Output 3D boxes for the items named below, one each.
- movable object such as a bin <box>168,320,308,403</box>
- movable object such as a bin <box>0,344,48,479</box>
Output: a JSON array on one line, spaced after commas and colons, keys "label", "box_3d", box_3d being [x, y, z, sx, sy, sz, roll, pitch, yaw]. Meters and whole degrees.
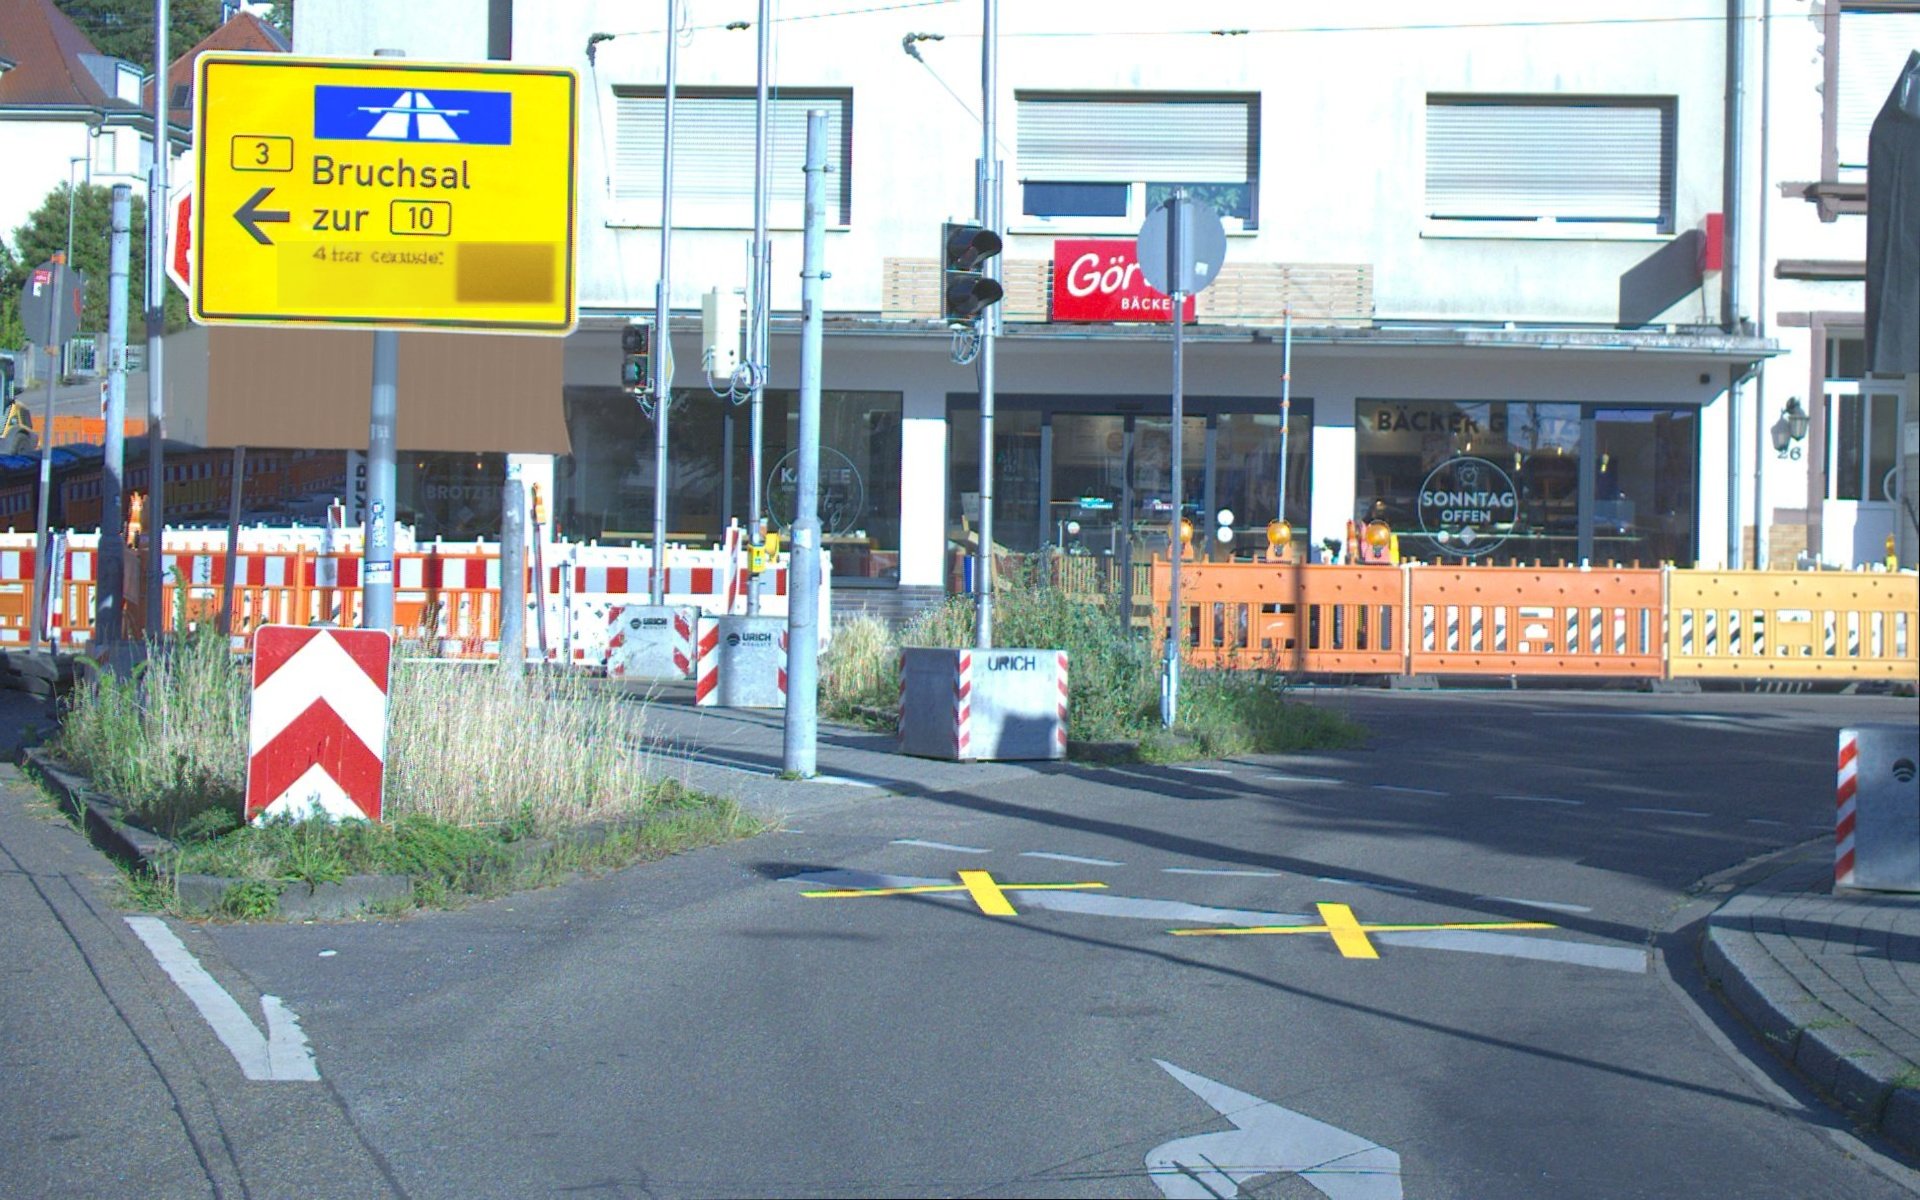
[{"label": "movable object such as a bin", "box_3d": [-20.843, -6.868, 99.576, 2.565, 2.114, 5.784, 0, 1, 3]}, {"label": "movable object such as a bin", "box_3d": [-18.889, -3.520, 63.746, 1.949, 2.485, 4.549, 1, 1, 13]}]
